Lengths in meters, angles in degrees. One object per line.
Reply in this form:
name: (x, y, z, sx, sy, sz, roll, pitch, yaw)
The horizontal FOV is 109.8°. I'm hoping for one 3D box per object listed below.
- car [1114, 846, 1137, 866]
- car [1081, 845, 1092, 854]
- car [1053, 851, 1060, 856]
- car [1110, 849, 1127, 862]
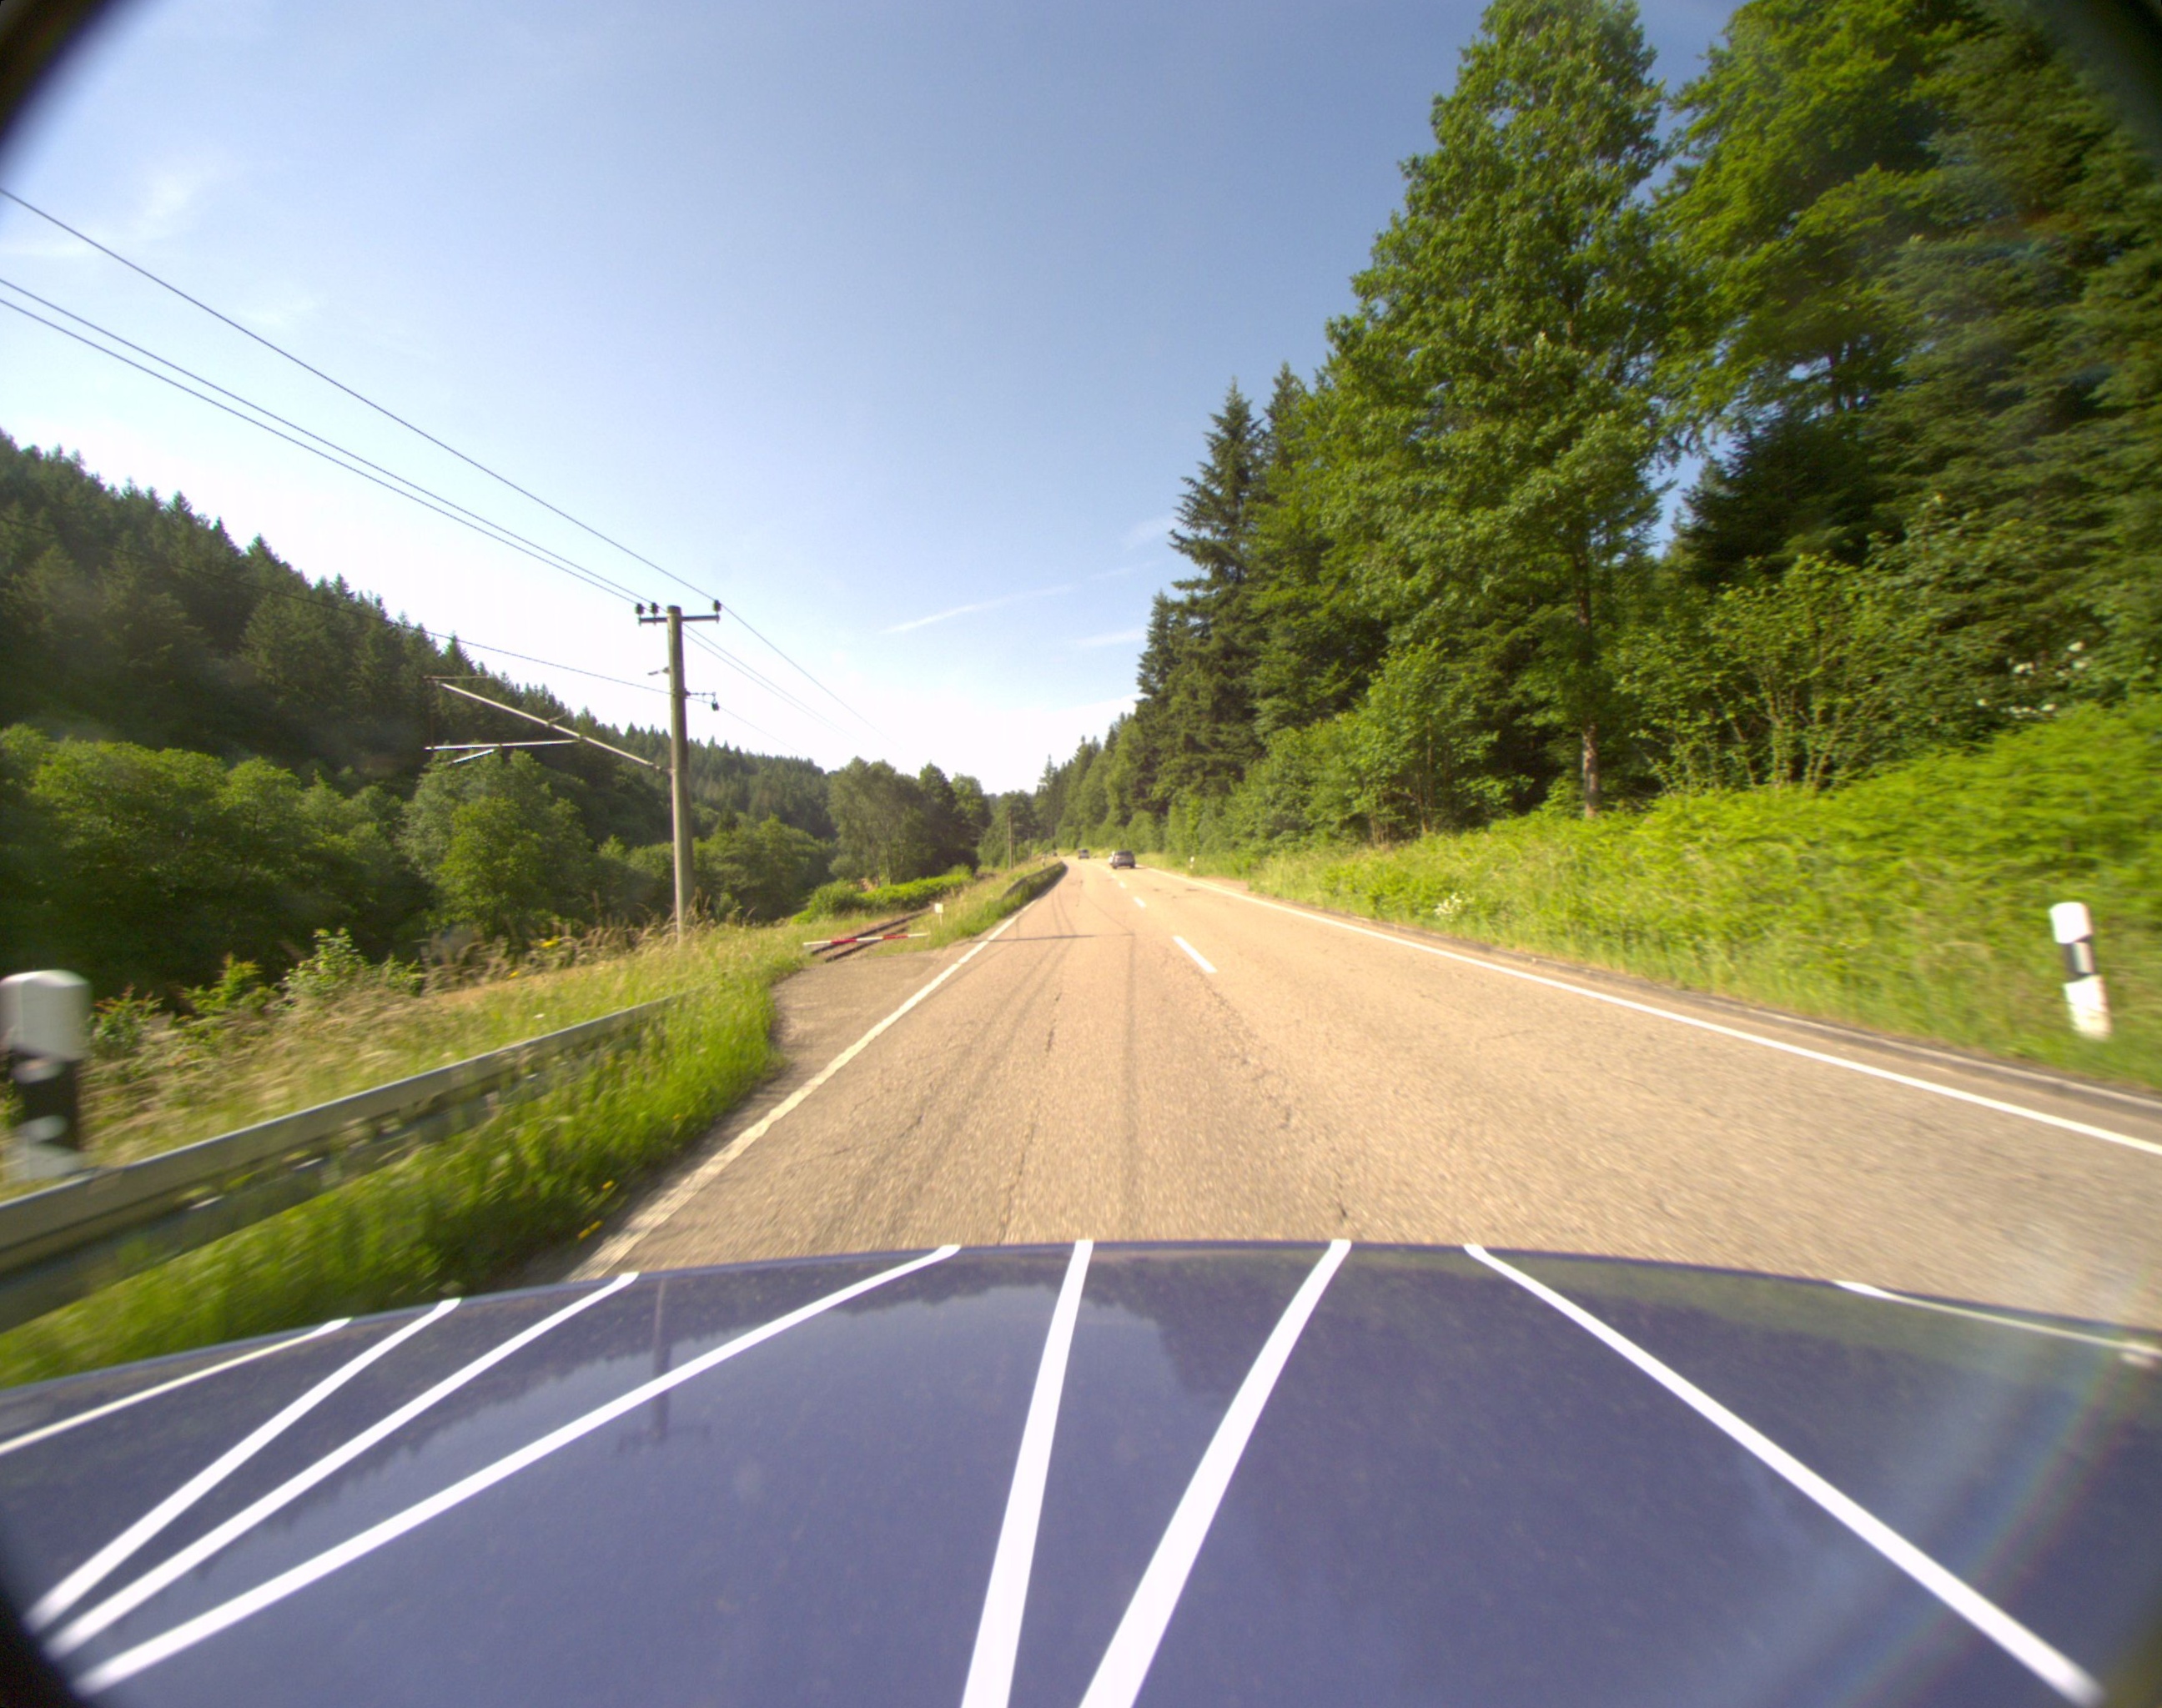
car: (3.825, 0.150, 65.896, 1.840, 1.572, 4.875, -1, 0, 1)
car: (1.016, -0.800, 140.490, 1.968, 1.568, 4.535, -1, 0, -1)
car: (-7.260, -0.206, 226.303, 1.799, 1.601, 4.227, -1, 0, -3)
car: (4.117, 0.109, 84.413, 1.798, 1.357, 3.999, -1, 1, 1)
